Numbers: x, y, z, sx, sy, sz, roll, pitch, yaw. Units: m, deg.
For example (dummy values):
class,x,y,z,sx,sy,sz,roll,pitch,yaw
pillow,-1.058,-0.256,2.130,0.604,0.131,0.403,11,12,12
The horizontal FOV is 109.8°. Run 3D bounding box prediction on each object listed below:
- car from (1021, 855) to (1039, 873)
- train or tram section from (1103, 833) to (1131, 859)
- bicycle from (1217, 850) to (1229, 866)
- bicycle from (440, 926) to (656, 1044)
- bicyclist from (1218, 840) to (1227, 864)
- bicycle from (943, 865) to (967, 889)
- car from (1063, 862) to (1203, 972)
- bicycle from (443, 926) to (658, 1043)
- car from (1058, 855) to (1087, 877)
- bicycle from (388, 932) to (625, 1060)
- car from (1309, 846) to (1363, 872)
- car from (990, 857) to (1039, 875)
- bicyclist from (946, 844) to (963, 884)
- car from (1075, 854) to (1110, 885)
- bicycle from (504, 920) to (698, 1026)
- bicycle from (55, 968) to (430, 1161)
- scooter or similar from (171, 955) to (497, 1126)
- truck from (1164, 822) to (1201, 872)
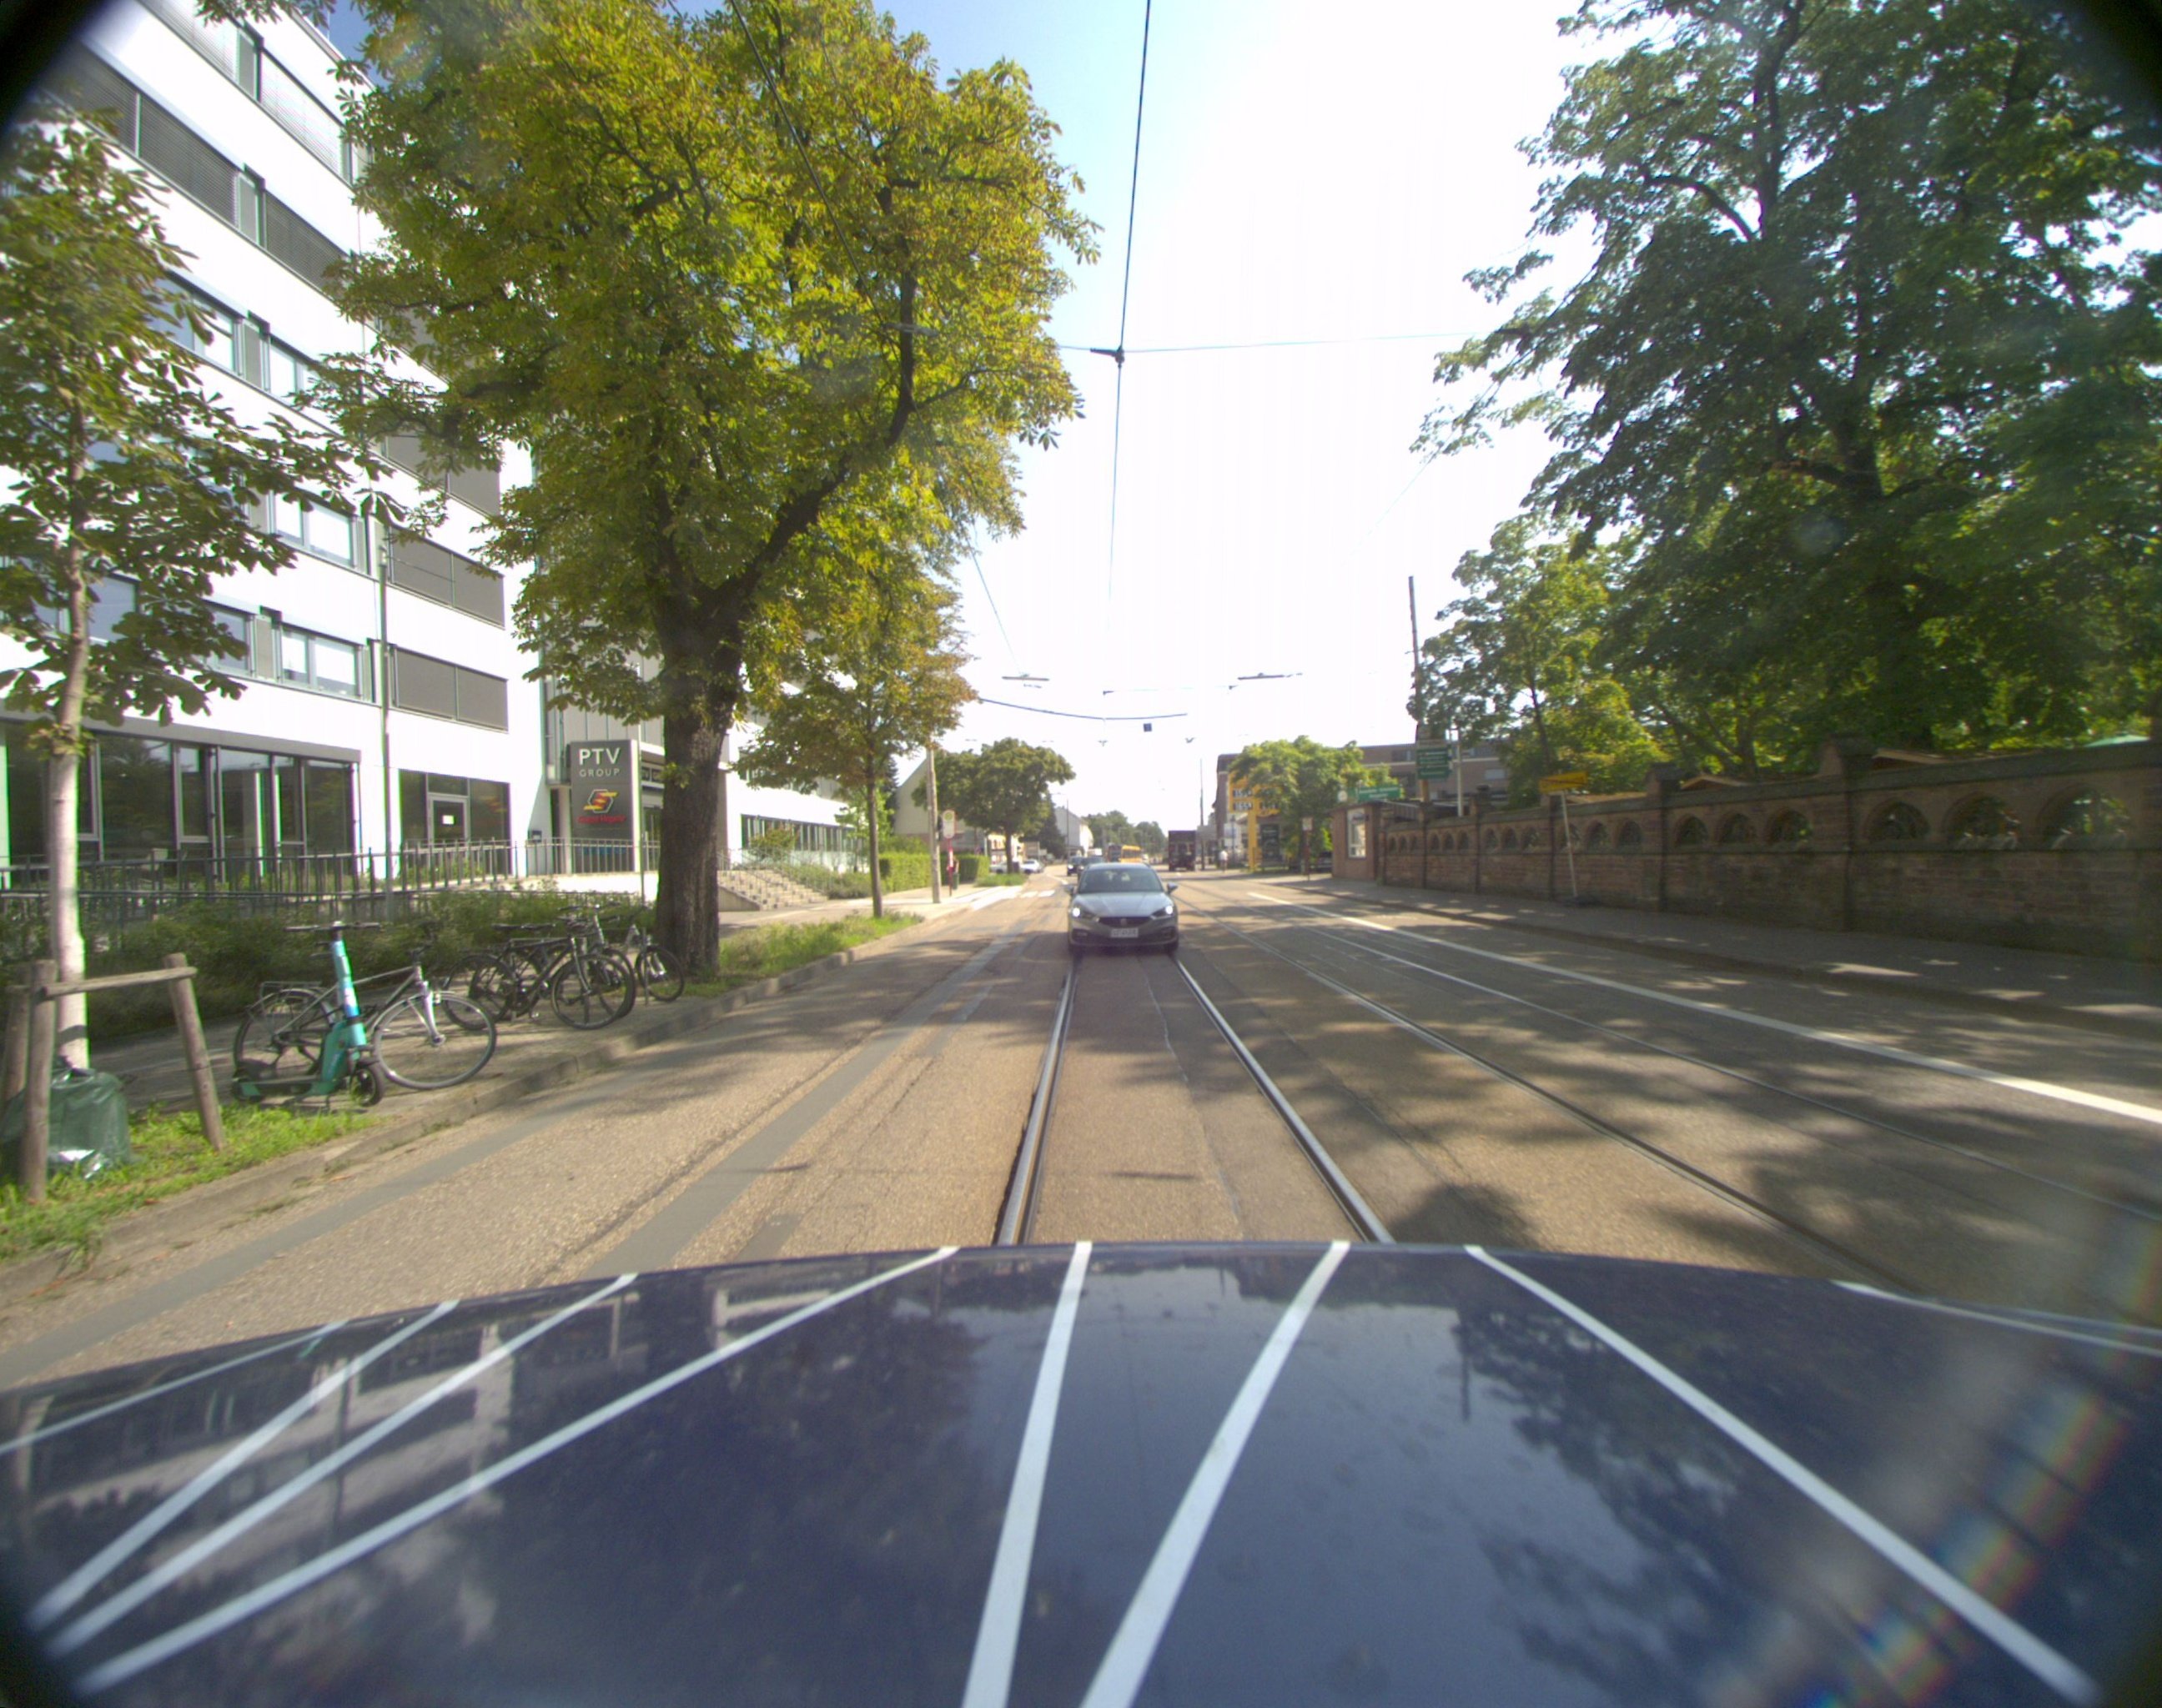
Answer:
class,x,y,z,sx,sy,sz,roll,pitch,yaw
car,-5.841,1.171,87.163,1.960,1.910,4.552,-2,0,-3
train or tram section,6.093,-1.317,128.543,4.111,3.711,24.381,-2,0,3
bicycle,11.530,0.315,61.648,0.787,1.233,2.035,-2,1,13
bicycle,-5.326,1.297,7.645,1.775,1.065,0.540,-1,1,1
bicyclist,11.522,-0.186,61.753,0.642,1.918,1.176,-2,1,13
bicycle,-6.566,1.183,39.733,1.139,1.118,2.535,-2,0,-8
car,0.781,0.915,13.167,1.928,1.465,4.817,-2,0,1
bicycle,-5.315,1.296,7.666,1.775,1.065,0.540,-1,1,1
car,-0.671,0.945,64.593,2.260,1.660,5.653,-2,0,2
bicycle,-5.299,1.299,7.065,1.775,1.065,0.540,-1,1,1
car,16.027,0.305,47.655,1.932,1.452,4.536,-2,1,35
car,-6.377,1.136,73.145,4.552,1.506,1.960,-2,1,-3
bicyclist,-6.578,0.520,39.609,0.783,2.002,1.273,-2,1,-8
car,0.647,0.835,42.267,1.834,1.543,4.033,-2,0,1
bicycle,-5.249,1.290,8.361,1.775,1.065,0.540,-1,1,1
bicycle,-5.280,1.310,4.844,1.775,1.065,0.540,-1,1,1
scooter or similar,-5.285,1.307,5.432,1.775,1.065,0.540,-1,1,1
truck,10.363,-0.729,77.387,3.171,4.427,16.848,-2,0,8
